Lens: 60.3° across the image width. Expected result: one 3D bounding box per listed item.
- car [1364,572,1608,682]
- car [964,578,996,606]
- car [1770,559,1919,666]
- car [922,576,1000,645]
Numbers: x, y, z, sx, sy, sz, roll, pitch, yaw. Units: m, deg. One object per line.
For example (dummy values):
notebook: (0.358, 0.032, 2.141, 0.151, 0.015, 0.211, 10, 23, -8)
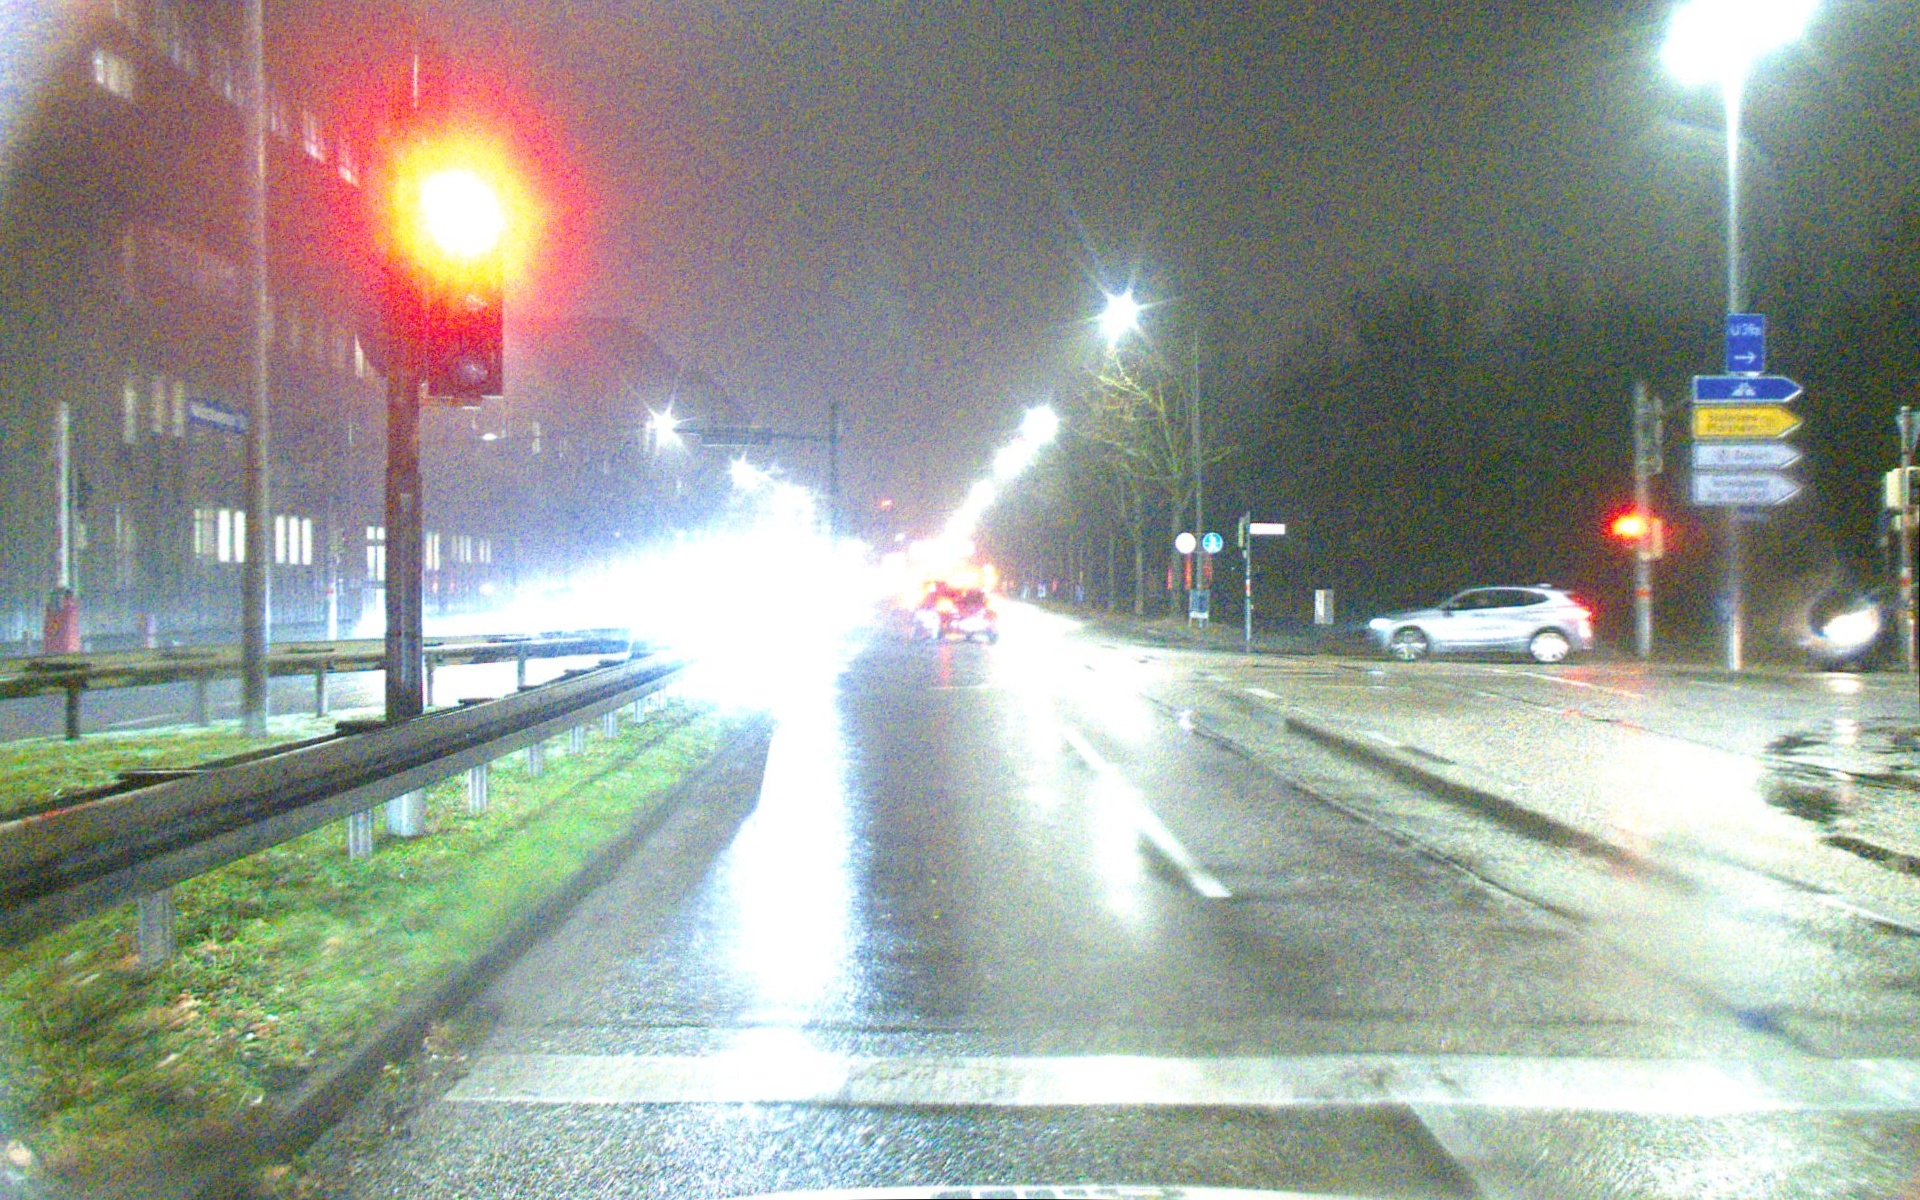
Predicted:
car: (10.488, 0.515, 33.246, 4.519, 2.049, 2.001, 1, 0, 16)
car: (1.288, -0.501, 108.329, 1.953, 1.790, 3.999, 1, 0, -1)
car: (17.045, 0.244, 28.884, 4.799, 1.771, 1.972, 1, 0, 4)
car: (-0.001, 0.271, 44.721, 1.953, 1.735, 4.632, 1, 0, -1)
